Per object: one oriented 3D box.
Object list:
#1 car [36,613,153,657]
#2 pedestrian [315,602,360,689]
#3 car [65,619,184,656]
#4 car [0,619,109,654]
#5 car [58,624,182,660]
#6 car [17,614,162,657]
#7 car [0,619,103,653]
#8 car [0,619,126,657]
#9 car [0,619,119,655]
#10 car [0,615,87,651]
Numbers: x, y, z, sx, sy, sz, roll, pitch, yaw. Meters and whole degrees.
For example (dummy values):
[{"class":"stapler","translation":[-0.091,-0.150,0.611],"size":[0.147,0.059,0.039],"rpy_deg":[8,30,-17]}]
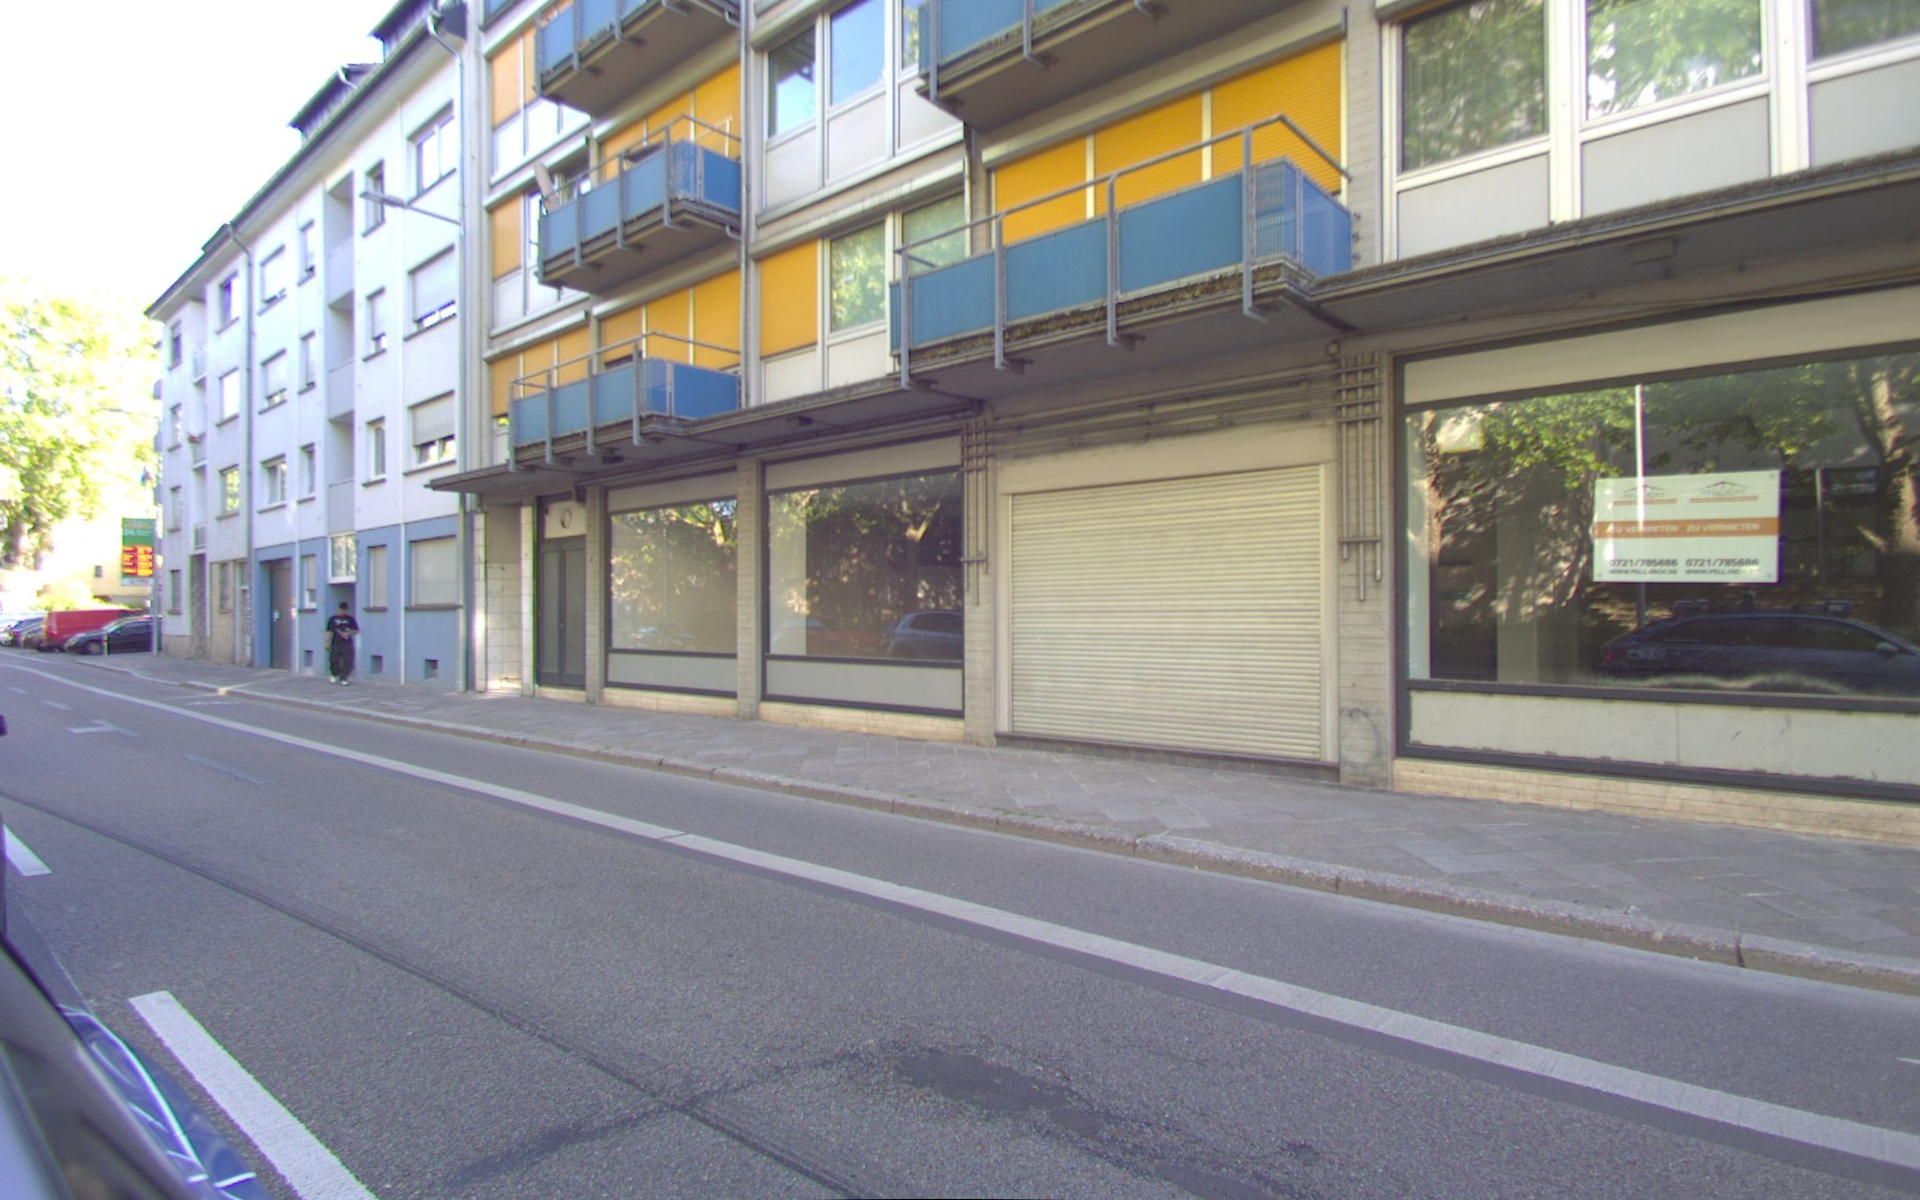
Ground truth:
[{"class":"car","translation":[-40.576,1.626,47.518],"size":[1.866,1.952,3.946],"rpy_deg":[-1,-1,41]},{"class":"pedestrian","translation":[-13.198,0.953,21.456],"size":[0.654,1.785,0.794],"rpy_deg":[-1,-1,-44]},{"class":"car","translation":[-37.864,1.670,45.944],"size":[1.742,1.572,3.946],"rpy_deg":[-1,-1,41]},{"class":"car","translation":[-54.108,2.123,60.358],"size":[2.082,1.952,4.928],"rpy_deg":[-1,-1,41]},{"class":"car","translation":[-36.539,1.780,44.079],"size":[1.742,1.431,3.946],"rpy_deg":[-1,-1,41]},{"class":"car","translation":[-42.677,1.693,49.716],"size":[2.256,1.995,5.156],"rpy_deg":[-1,-1,41]},{"class":"car","translation":[-55.956,2.150,61.989],"size":[2.314,1.952,4.978],"rpy_deg":[-1,-1,41]},{"class":"car","translation":[-50.284,2.078,56.833],"size":[2.186,1.952,5.077],"rpy_deg":[-1,-1,41]},{"class":"car","translation":[-52.223,2.101,58.721],"size":[2.159,1.952,4.990],"rpy_deg":[-1,-1,41]},{"class":"car","translation":[-59.330,2.090,64.715],"size":[2.186,2.164,5.077],"rpy_deg":[-1,-1,41]}]
